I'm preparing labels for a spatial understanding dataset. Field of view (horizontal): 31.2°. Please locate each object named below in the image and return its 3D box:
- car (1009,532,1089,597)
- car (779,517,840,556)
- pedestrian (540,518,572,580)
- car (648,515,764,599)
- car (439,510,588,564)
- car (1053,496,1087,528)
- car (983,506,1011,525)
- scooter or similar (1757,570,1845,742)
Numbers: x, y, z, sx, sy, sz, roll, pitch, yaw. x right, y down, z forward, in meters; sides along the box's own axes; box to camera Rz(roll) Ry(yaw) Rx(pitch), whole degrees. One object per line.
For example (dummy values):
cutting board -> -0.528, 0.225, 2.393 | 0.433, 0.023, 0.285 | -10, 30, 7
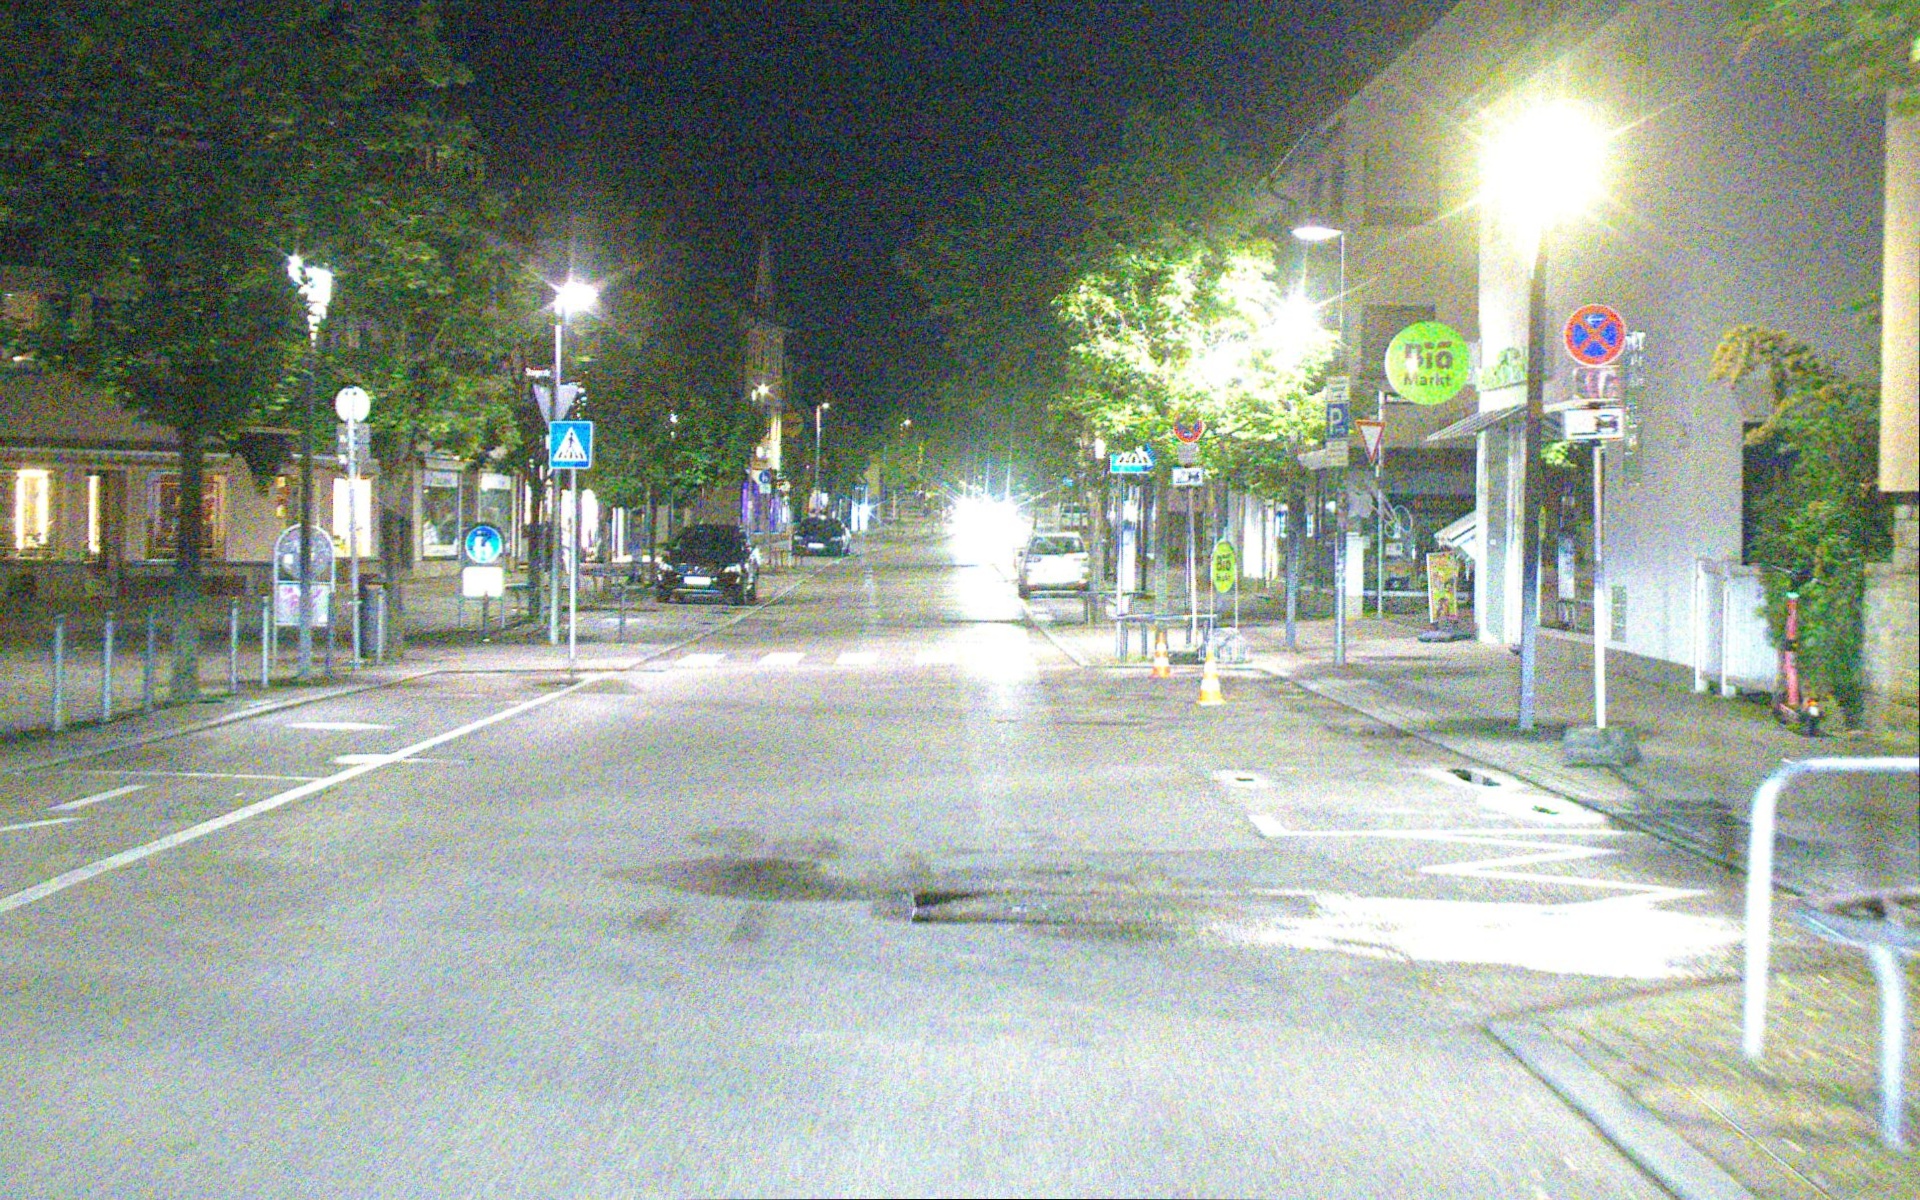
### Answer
car -> 2.050, -0.848, 79.893 | 1.674, 1.454, 3.676 | 0, 1, -2
car -> -5.585, -2.381, 128.375 | 1.914, 1.366, 4.457 | 0, 2, 2
pedestrian -> -11.055, -1.401, 94.100 | 0.769, 1.650, 0.817 | 0, 3, 2
car -> -5.461, -0.961, 74.379 | 2.018, 1.685, 5.003 | 2, 2, 1
car -> -13.574, -1.925, 104.661 | 4.168, 1.433, 1.841 | -3, 1, 4
car -> 5.820, -4.674, 181.697 | 1.775, 1.646, 4.364 | 0, 2, 2
car -> 2.440, -5.545, 225.333 | 1.723, 1.242, 4.237 | 0, 2, 2
scooter or similar -> 6.365, 0.415, 26.047 | 0.373, 1.272, 1.305 | 0, 0, 1
